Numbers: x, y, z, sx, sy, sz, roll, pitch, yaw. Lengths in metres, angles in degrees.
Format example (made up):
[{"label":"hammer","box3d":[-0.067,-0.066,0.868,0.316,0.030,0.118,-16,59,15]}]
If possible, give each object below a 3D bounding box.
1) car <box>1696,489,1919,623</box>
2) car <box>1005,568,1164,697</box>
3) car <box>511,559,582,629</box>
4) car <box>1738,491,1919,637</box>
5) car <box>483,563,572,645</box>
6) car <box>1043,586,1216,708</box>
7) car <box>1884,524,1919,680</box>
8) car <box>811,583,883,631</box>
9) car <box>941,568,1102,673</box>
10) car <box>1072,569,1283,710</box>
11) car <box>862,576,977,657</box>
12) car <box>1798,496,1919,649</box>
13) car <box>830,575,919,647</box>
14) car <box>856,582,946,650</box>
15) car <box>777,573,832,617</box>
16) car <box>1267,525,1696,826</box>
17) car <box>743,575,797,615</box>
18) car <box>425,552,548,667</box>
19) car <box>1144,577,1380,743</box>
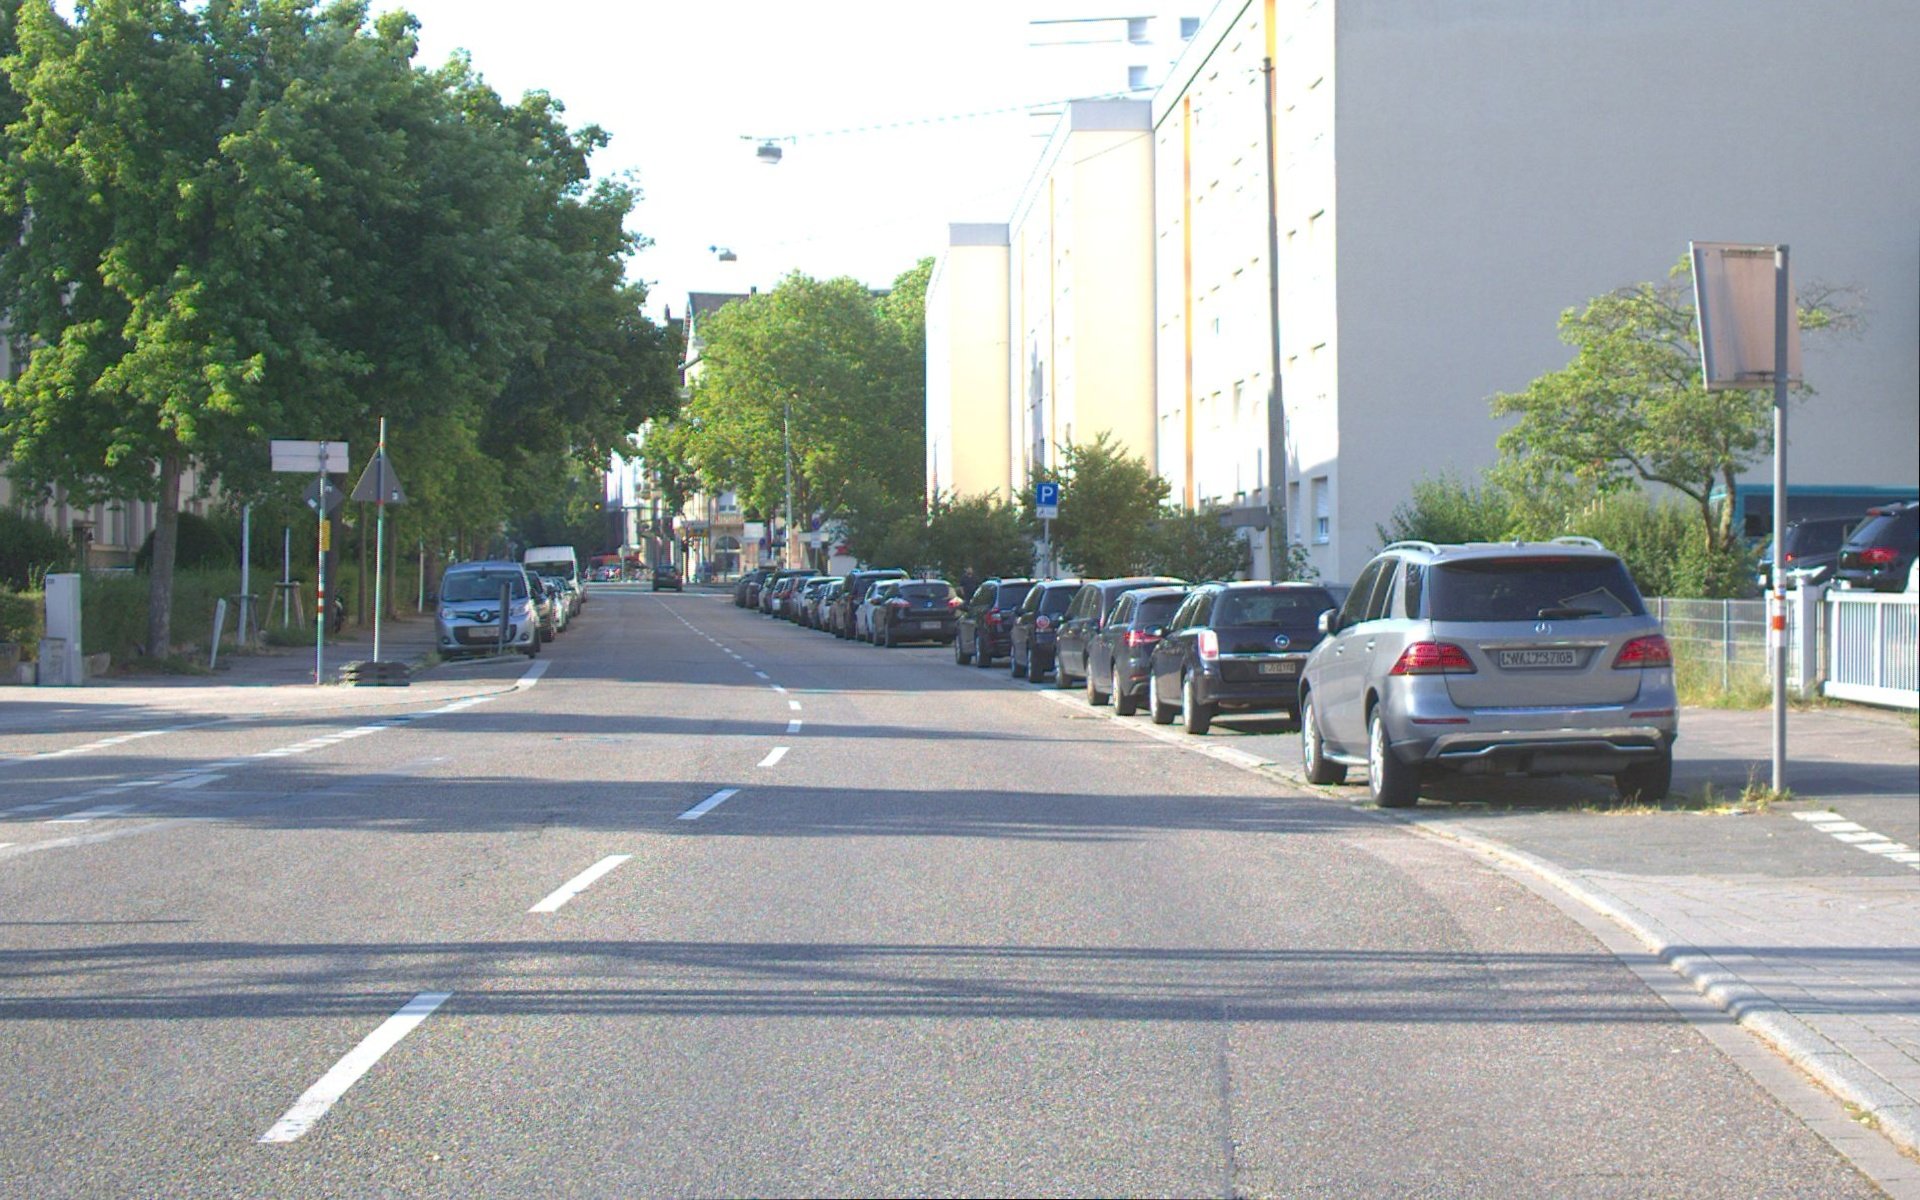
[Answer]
[{"label":"car","box3d":[12.955,-0.605,49.858,3.986,1.788,2.000,2,-1,-5]},{"label":"car","box3d":[1.796,0.482,51.119,1.901,1.773,4.582,2,-1,-3]},{"label":"car","box3d":[-15.163,-0.199,126.419,2.357,2.437,6.165,2,-1,-5]},{"label":"car","box3d":[12.476,-0.418,45.049,3.986,1.788,2.000,2,-1,-4]},{"label":"car","box3d":[-9.853,0.102,78.246,1.873,1.753,4.690,2,-1,-7]},{"label":"car","box3d":[2.213,0.594,45.843,1.650,1.431,3.961,0,2,-7]},{"label":"car","box3d":[12.956,0.092,39.583,3.986,1.788,2.000,2,-1,-5]},{"label":"car","box3d":[-3.616,0.230,109.301,1.873,1.438,4.001,2,-1,-7]},{"label":"car","box3d":[0.977,0.345,58.020,1.886,1.556,4.947,-5,0,-7]},{"label":"car","box3d":[2.511,0.469,40.830,1.901,1.524,4.811,2,-1,-3]},{"label":"car","box3d":[-0.921,0.382,75.832,1.798,1.502,4.622,8,-2,-7]},{"label":"car","box3d":[12.563,-0.271,42.125,3.986,1.788,2.000,2,-1,-5]},{"label":"car","box3d":[-2.194,0.292,86.801,1.771,1.672,4.647,-4,0,-6]},{"label":"car","box3d":[-1.426,0.393,81.726,1.771,1.503,4.000,2,-1,-6]},{"label":"car","box3d":[-5.702,-0.178,125.712,1.837,1.496,4.172,2,-1,-5]},{"label":"car","box3d":[3.499,0.499,24.019,1.921,1.773,4.811,-3,0,-3]},{"label":"car","box3d":[-8.198,-0.232,147.988,1.897,1.645,4.344,2,0,-8]},{"label":"car","box3d":[-8.622,0.189,62.900,1.841,1.890,4.487,5,-1,-5]},{"label":"car","box3d":[2.988,0.595,34.884,1.741,1.535,4.440,-1,-1,-3]}]
